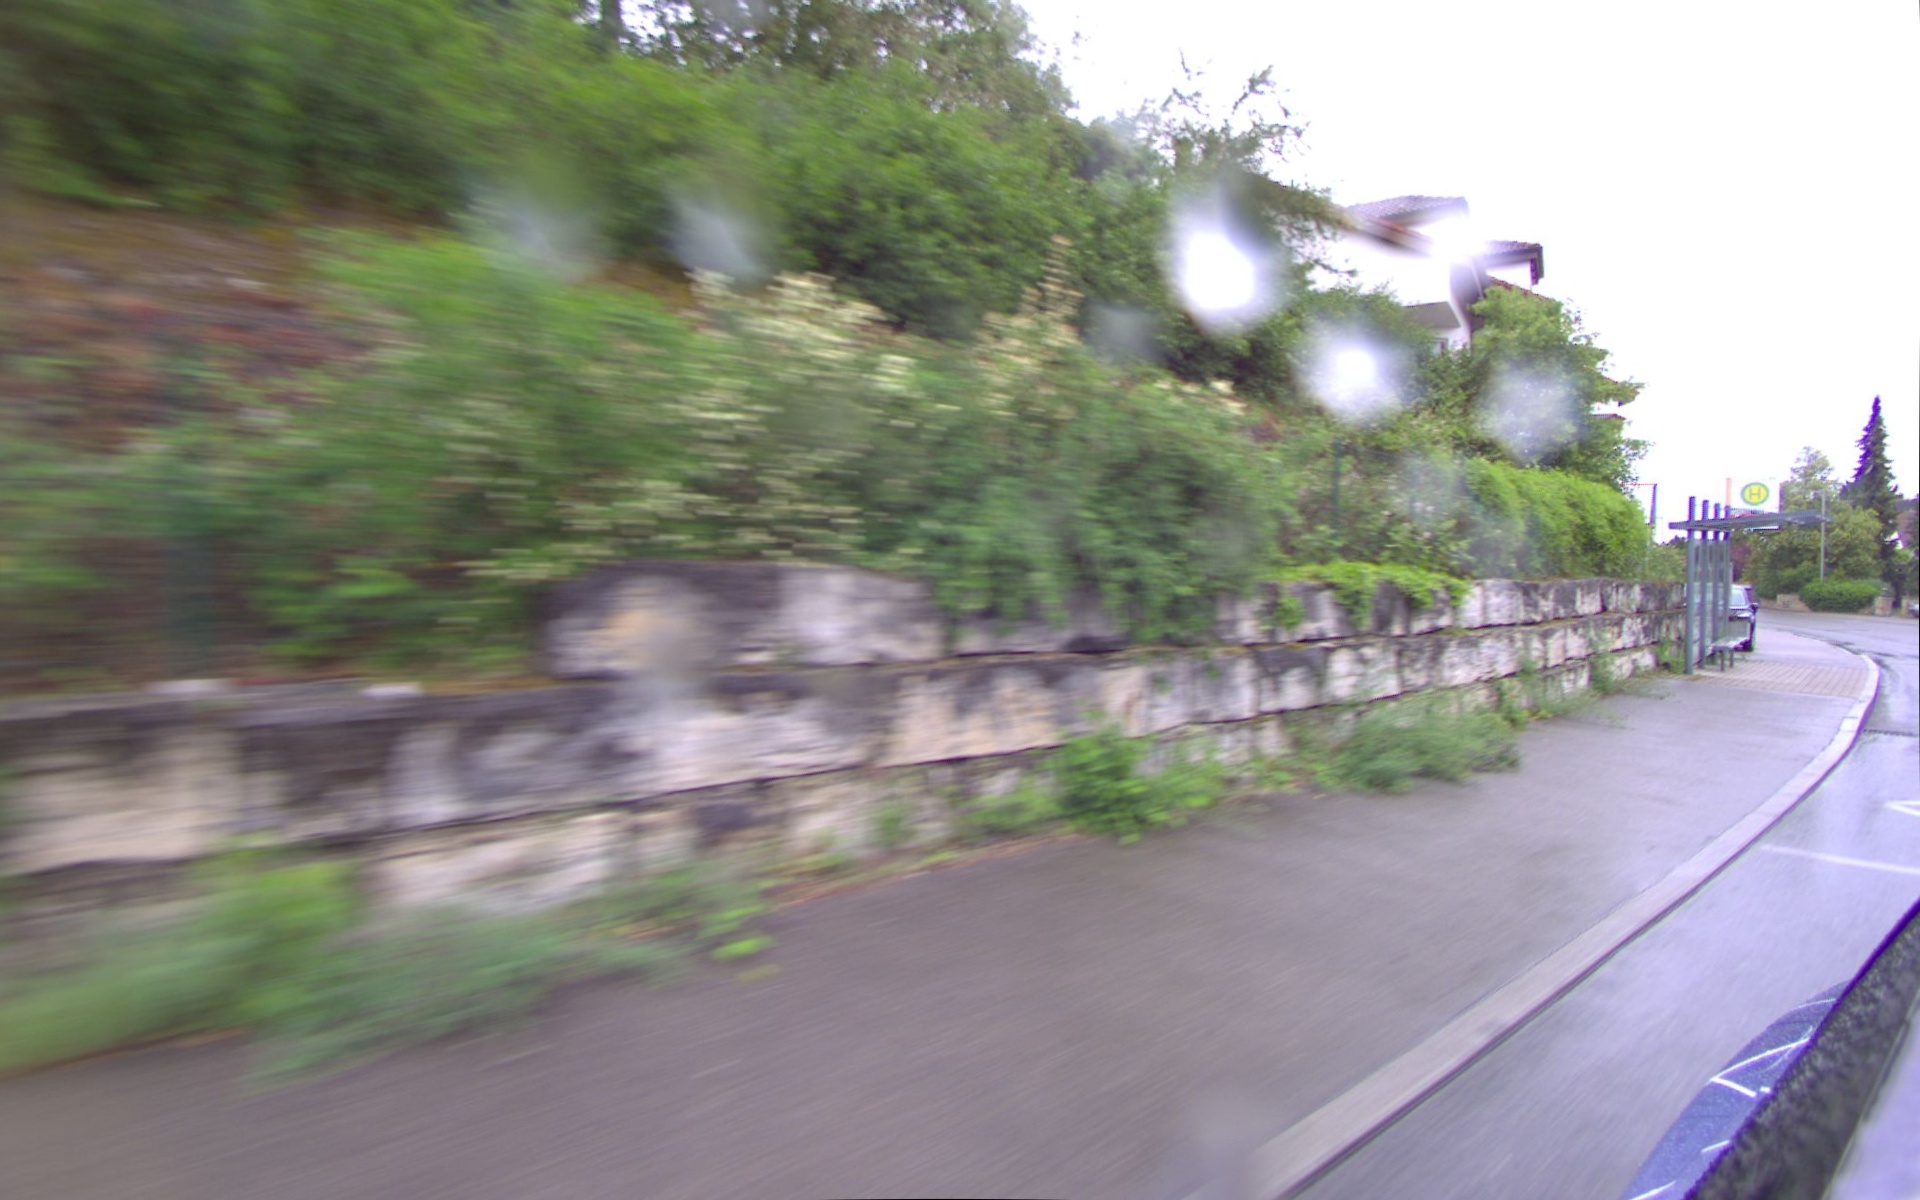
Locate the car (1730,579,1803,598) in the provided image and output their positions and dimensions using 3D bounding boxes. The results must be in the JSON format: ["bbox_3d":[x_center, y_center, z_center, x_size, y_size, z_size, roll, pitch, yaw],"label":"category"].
[{"bbox_3d":[68.439,-0.972,85.940,4.489,1.494,1.831,-1,1,15],"label":"car"}]

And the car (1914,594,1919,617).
[{"bbox_3d":[56.176,0.320,56.502,3.972,1.287,1.851,0,1,34],"label":"car"}]

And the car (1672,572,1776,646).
[{"bbox_3d":[17.567,0.161,23.279,1.702,1.471,3.966,4,3,38],"label":"car"}]
